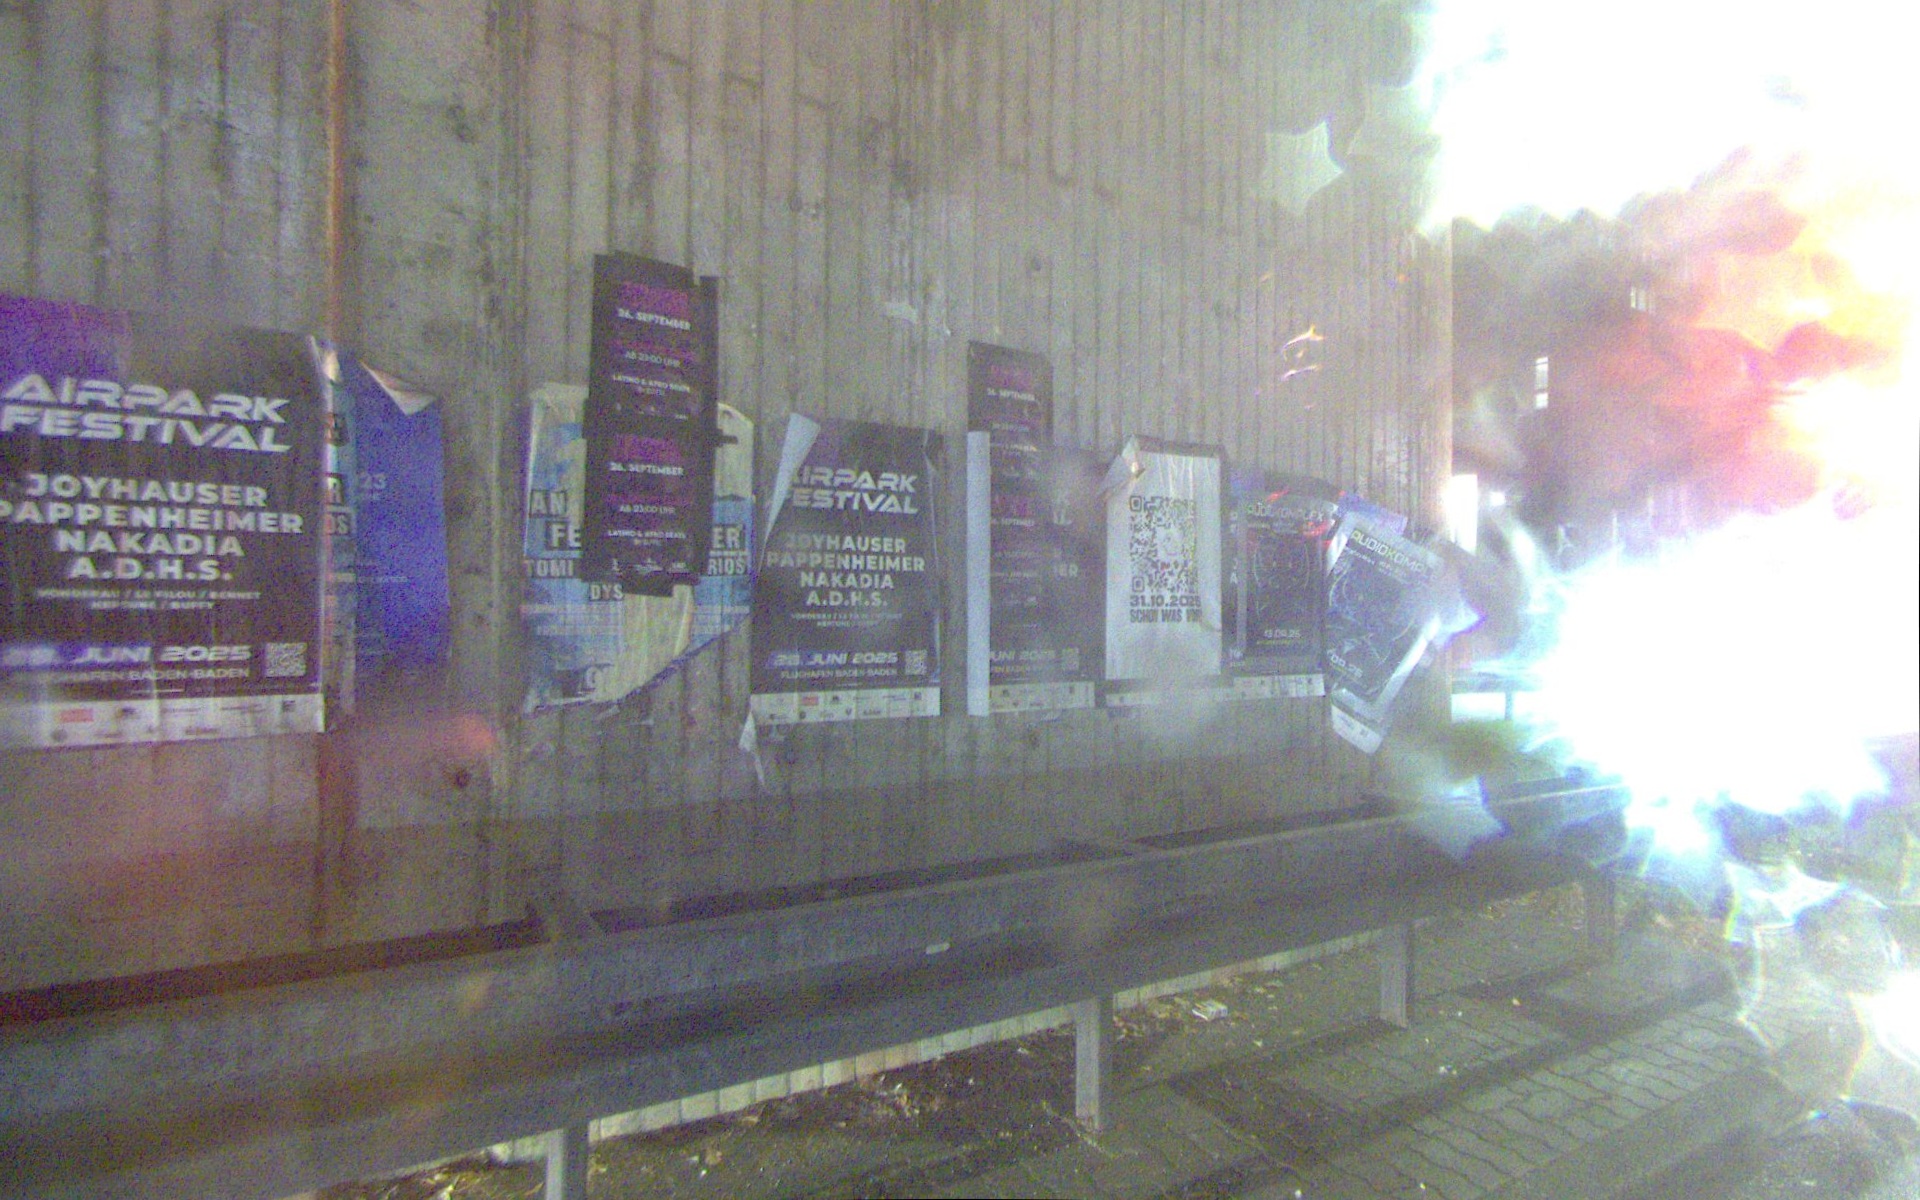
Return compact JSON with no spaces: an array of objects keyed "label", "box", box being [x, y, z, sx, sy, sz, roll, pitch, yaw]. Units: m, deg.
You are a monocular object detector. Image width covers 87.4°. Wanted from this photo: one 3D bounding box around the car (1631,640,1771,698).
[{"label":"car","box":[21.182,1.949,28.708,3.953,1.483,1.816,2,-1,-30]}]
